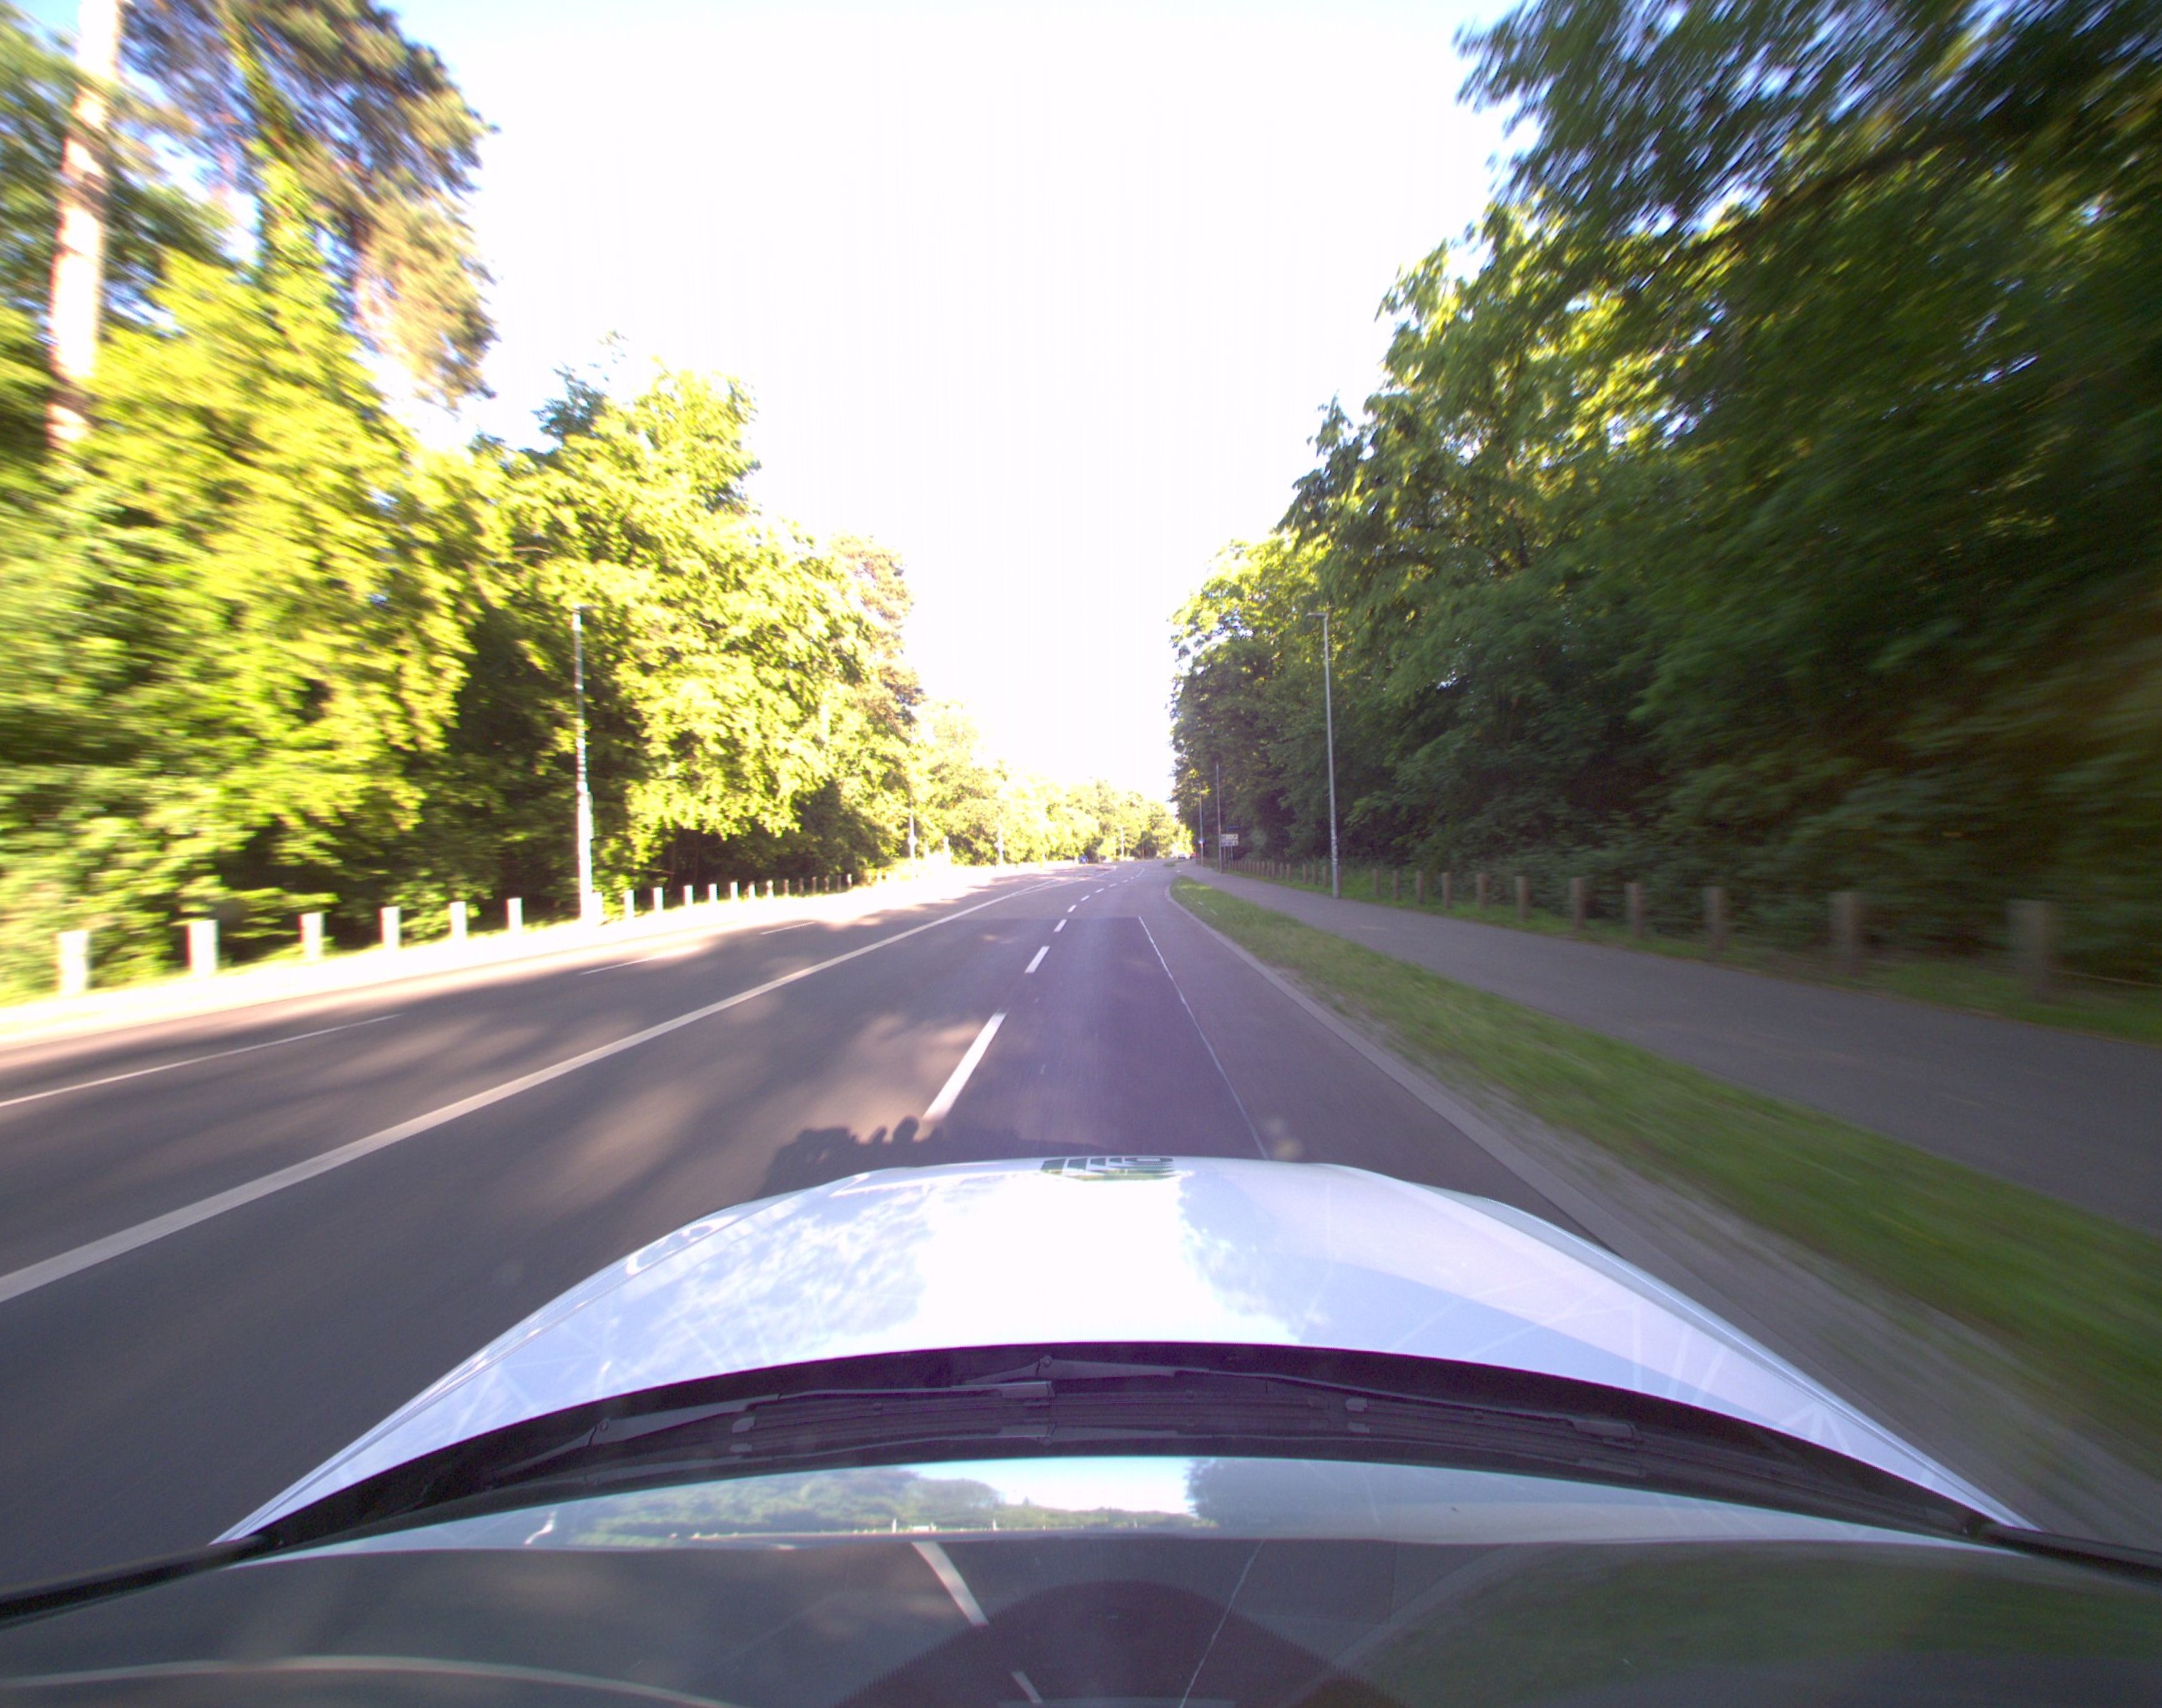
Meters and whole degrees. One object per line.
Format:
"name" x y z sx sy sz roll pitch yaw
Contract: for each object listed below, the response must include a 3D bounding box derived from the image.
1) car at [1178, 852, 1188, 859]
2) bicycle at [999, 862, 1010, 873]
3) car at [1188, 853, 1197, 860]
"car" 26.589 0.474 211.751 1.865 1.709 4.019 -2 0 18
"bicycle" -8.221 1.431 88.031 0.398 1.132 2.228 0 0 15
"car" 30.270 0.782 220.994 1.865 1.765 4.019 -2 0 18
